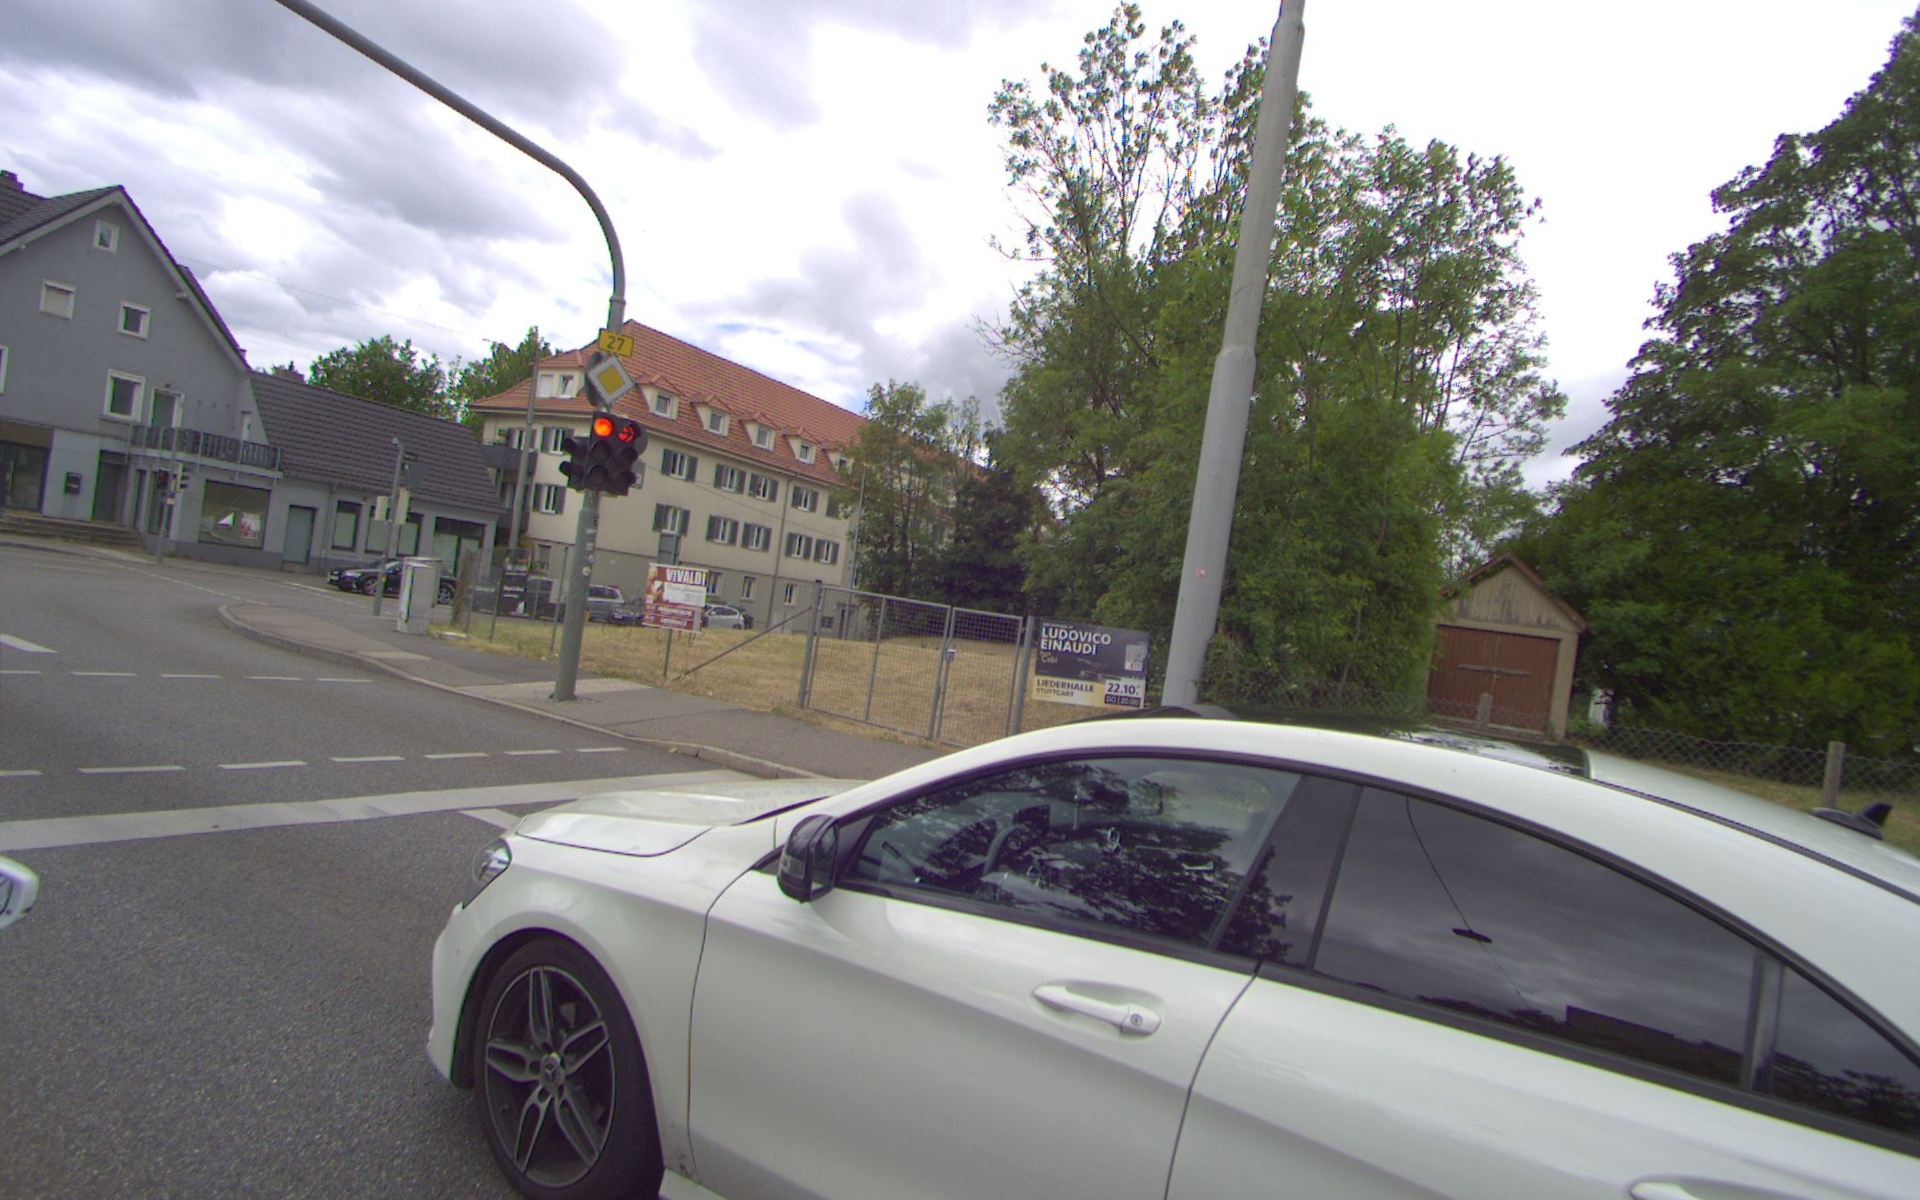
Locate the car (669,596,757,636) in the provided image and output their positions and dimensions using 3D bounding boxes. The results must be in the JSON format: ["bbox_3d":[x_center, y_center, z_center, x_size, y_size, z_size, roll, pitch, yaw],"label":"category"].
[{"bbox_3d":[-12.124,0.801,49.611,1.769,1.386,4.099,7,-3,30],"label":"car"}]

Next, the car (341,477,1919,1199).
[{"bbox_3d":[0.826,0.798,2.363,4.694,1.522,1.872,8,-1,32],"label":"car"}]

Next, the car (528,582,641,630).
[{"bbox_3d":[-15.625,0.269,42.053,1.769,1.386,4.099,7,-3,30],"label":"car"}]

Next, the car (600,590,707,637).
[{"bbox_3d":[-12.831,0.596,42.348,1.769,1.386,4.099,7,-3,30],"label":"car"}]

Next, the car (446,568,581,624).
[{"bbox_3d":[-16.052,-0.110,36.343,1.769,1.386,4.099,7,-3,30],"label":"car"}]

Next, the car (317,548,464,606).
[{"bbox_3d":[-20.126,-0.788,35.725,1.769,1.386,4.099,7,-3,30],"label":"car"}]

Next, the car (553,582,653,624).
[{"bbox_3d":[-16.581,0.170,46.941,1.769,1.386,4.099,7,-3,30],"label":"car"}]
